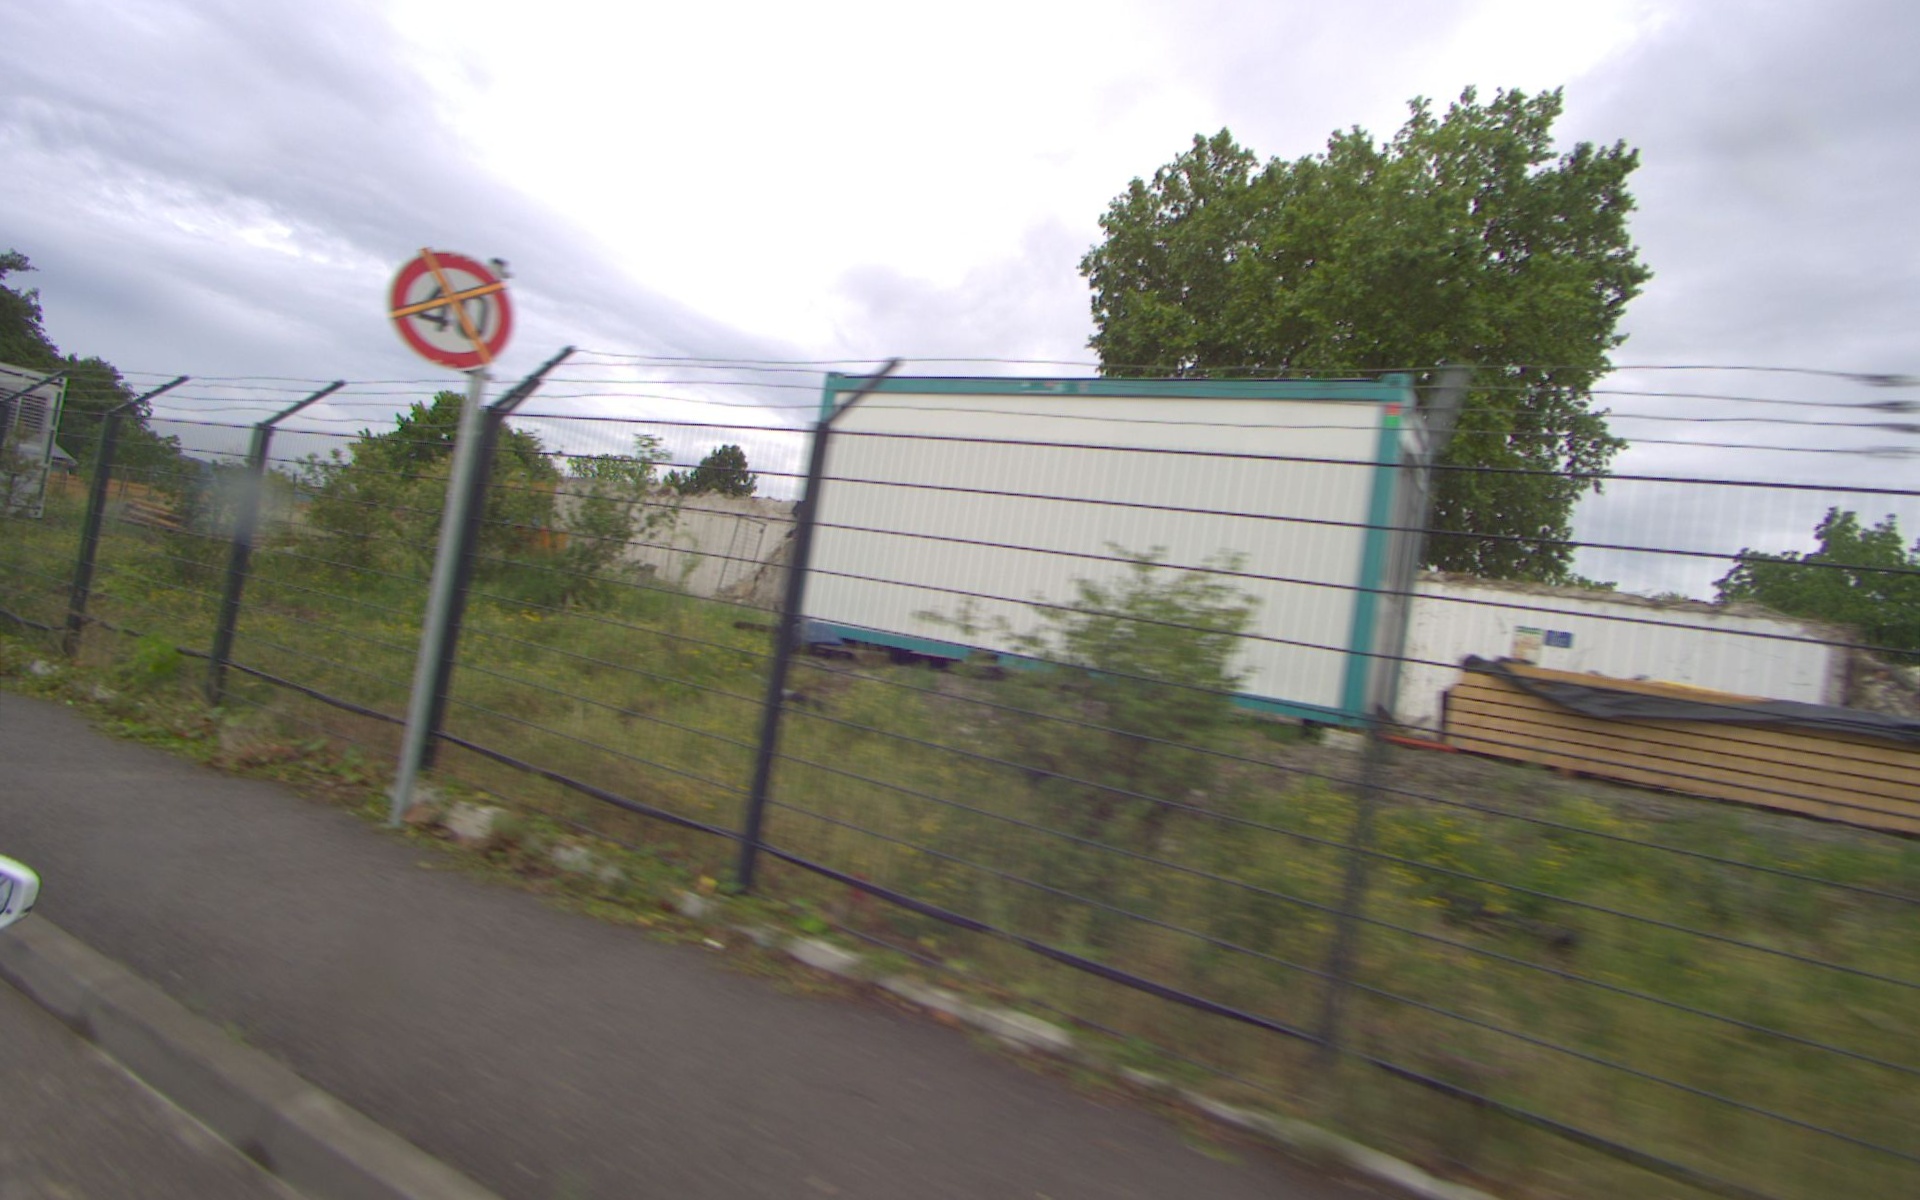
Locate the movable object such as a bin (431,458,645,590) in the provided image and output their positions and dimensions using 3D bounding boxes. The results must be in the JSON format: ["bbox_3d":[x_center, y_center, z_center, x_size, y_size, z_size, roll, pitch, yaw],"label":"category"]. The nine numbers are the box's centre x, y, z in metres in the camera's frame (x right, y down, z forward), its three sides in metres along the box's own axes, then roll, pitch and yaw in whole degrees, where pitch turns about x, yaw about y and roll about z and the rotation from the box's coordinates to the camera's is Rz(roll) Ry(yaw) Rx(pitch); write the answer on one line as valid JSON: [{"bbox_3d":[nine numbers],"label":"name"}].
[{"bbox_3d":[-25.518,-4.431,61.703,3.441,6.064,11.228,6,-2,40],"label":"movable object such as a bin"}]
